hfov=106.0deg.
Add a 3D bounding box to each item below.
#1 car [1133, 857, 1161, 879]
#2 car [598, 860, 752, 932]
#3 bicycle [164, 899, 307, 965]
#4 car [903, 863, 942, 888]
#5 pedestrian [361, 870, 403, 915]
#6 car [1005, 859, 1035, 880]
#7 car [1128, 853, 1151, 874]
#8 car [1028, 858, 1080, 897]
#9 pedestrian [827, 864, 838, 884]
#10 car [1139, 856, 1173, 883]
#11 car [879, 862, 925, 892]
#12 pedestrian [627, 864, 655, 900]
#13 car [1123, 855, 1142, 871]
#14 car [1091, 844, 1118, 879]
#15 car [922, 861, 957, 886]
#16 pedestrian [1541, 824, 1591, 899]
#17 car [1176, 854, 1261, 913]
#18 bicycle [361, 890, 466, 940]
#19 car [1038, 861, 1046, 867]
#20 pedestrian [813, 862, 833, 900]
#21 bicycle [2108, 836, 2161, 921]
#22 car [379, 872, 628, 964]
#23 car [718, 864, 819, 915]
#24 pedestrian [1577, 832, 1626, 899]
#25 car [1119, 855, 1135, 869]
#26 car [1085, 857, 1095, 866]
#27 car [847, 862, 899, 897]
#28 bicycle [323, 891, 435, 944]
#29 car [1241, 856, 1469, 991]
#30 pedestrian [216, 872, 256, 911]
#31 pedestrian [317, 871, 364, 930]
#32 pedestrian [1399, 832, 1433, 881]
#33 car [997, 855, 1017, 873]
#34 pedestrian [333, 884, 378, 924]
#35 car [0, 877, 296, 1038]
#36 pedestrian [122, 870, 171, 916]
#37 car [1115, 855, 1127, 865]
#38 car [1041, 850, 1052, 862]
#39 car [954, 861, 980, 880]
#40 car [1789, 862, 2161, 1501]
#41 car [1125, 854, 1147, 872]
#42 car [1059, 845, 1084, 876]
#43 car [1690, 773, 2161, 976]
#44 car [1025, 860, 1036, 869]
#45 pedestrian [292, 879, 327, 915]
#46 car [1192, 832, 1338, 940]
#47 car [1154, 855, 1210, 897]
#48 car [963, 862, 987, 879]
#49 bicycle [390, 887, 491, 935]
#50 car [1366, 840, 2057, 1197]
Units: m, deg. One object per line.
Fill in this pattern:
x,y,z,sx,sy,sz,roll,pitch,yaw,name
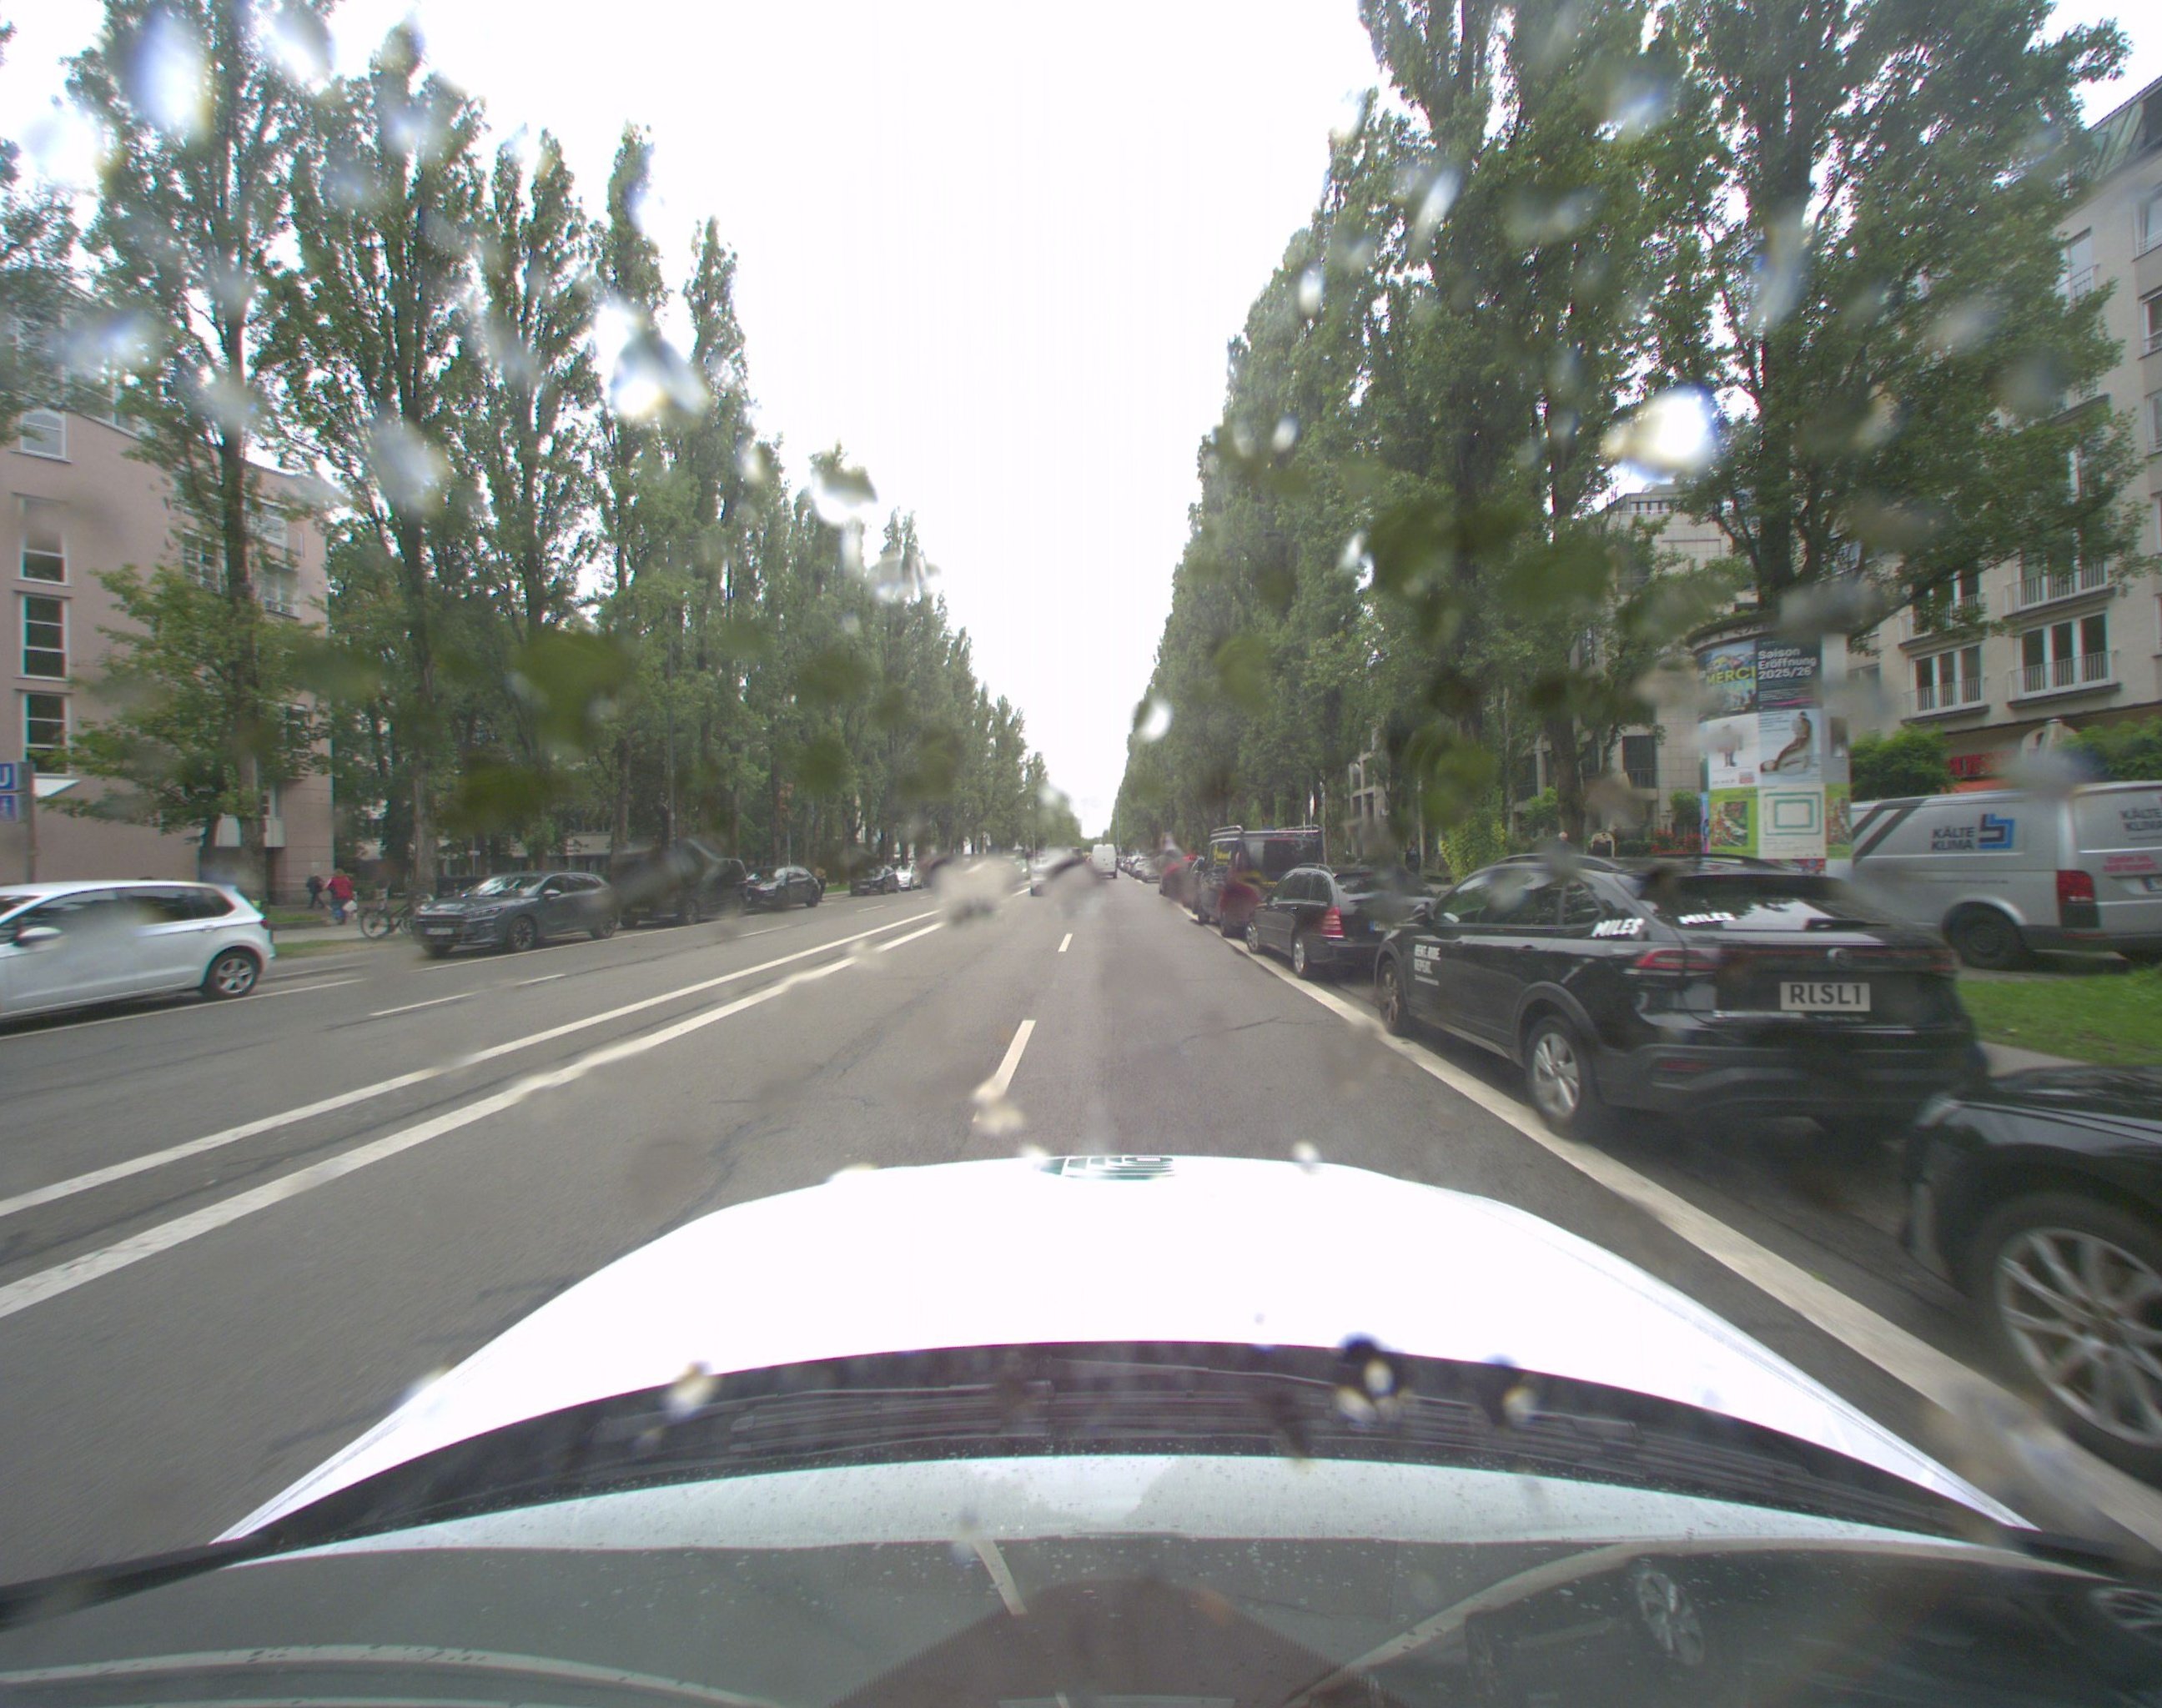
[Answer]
4.756,0.974,59.249,1.737,1.546,3.950,0,0,0,car
-11.563,1.125,23.652,1.987,1.797,4.762,-1,0,1,car
-15.911,1.461,15.357,1.975,1.124,0.676,-1,0,1,bicycle
-10.558,1.407,54.525,1.755,1.579,3.973,-1,0,1,car
-27.014,1.472,31.503,0.811,1.662,0.897,-2,-1,2,pedestrian
-4.828,1.230,64.990,1.986,1.548,4.639,0,0,1,car
5.090,0.849,71.350,1.737,1.787,3.950,0,0,0,car
-1.109,0.961,35.404,1.986,1.575,4.639,0,0,1,car
-18.285,1.473,59.928,0.589,1.493,0.678,-2,-1,2,pedestrian
4.665,0.929,51.184,1.737,1.643,3.950,0,0,0,car
-10.665,1.337,48.754,1.755,1.579,3.974,-1,1,1,car
-20.946,1.311,38.794,0.811,1.662,0.897,-2,-1,2,pedestrian
5.512,0.992,87.307,1.737,1.643,3.950,0,0,0,car
1.831,0.544,63.975,2.032,2.652,6.043,0,0,1,car
-10.421,1.410,60.125,1.755,1.579,3.974,-1,1,1,car
12.059,0.177,20.269,0.744,1.803,0.844,-1,-1,6,pedestrian
3.799,0.782,23.103,1.737,1.527,3.950,0,0,0,car
-16.155,1.465,19.745,1.975,1.124,0.676,-1,0,1,bicycle
-8.678,2.239,182.995,1.546,1.347,3.462,-1,1,1,car
-11.497,1.195,36.283,0.666,1.656,0.600,-1,-1,-4,pedestrian
15.780,0.320,11.446,1.855,1.160,0.588,-1,0,2,bicycle
-11.802,1.216,17.104,1.986,1.542,4.327,-1,0,2,car
-11.127,1.200,29.355,1.988,1.606,4.350,-1,0,-1,car
12.842,0.278,20.118,0.692,1.606,0.835,-1,0,6,pedestrian
5.533,1.003,98.335,1.737,1.643,3.950,0,0,0,car
1.633,1.276,143.950,1.737,1.643,3.950,0,0,0,car
-10.946,1.306,43.039,1.938,1.579,3.606,-2,1,-4,car
-16.152,1.449,18.753,1.975,1.124,0.676,-1,0,1,bicycle
3.561,0.805,11.440,1.737,1.527,4.233,0,0,-1,car
-37.487,1.652,36.155,0.811,1.662,0.897,-2,-1,2,pedestrian
-22.080,1.372,24.285,0.704,1.713,0.732,-2,-1,2,pedestrian
12.384,0.104,30.134,0.905,1.752,0.861,-2,-1,2,pedestrian
-9.609,1.256,105.789,1.986,2.119,5.002,-1,1,1,car
-22.659,1.549,25.444,0.704,1.204,0.732,-2,-1,2,pedestrian
-11.949,1.111,9.228,1.989,1.542,4.320,-1,0,-3,car
-35.435,1.462,30.889,0.811,1.662,0.897,-2,-1,2,pedestrian
6.518,1.000,134.240,1.737,1.643,3.950,0,0,0,car
-8.196,0.471,193.397,2.185,2.718,7.002,-1,1,1,car
-10.266,1.485,73.619,1.755,1.579,3.462,-1,1,1,car
3.234,0.731,0.590,1.743,1.427,4.451,0,0,3,car
5.154,0.859,76.781,1.737,1.643,3.950,0,0,0,car
-0.778,0.557,70.986,2.069,2.556,5.932,0,0,1,car
10.497,0.189,10.299,1.802,1.896,5.205,-2,0,2,car
-8.309,1.741,133.608,1.546,1.347,3.462,-1,1,1,car
-36.956,2.058,39.015,0.811,1.662,0.897,-2,-1,2,pedestrian
3.633,0.589,17.099,1.905,1.924,5.038,0,0,0,car
4.013,0.850,32.940,1.737,1.591,3.950,0,0,0,car
-10.066,1.551,77.696,1.755,1.579,3.462,-2,0,1,car
-16.150,1.421,20.560,1.975,1.124,0.676,-1,0,1,bicycle
3.393,0.718,5.470,1.736,1.527,3.910,0,0,2,car
